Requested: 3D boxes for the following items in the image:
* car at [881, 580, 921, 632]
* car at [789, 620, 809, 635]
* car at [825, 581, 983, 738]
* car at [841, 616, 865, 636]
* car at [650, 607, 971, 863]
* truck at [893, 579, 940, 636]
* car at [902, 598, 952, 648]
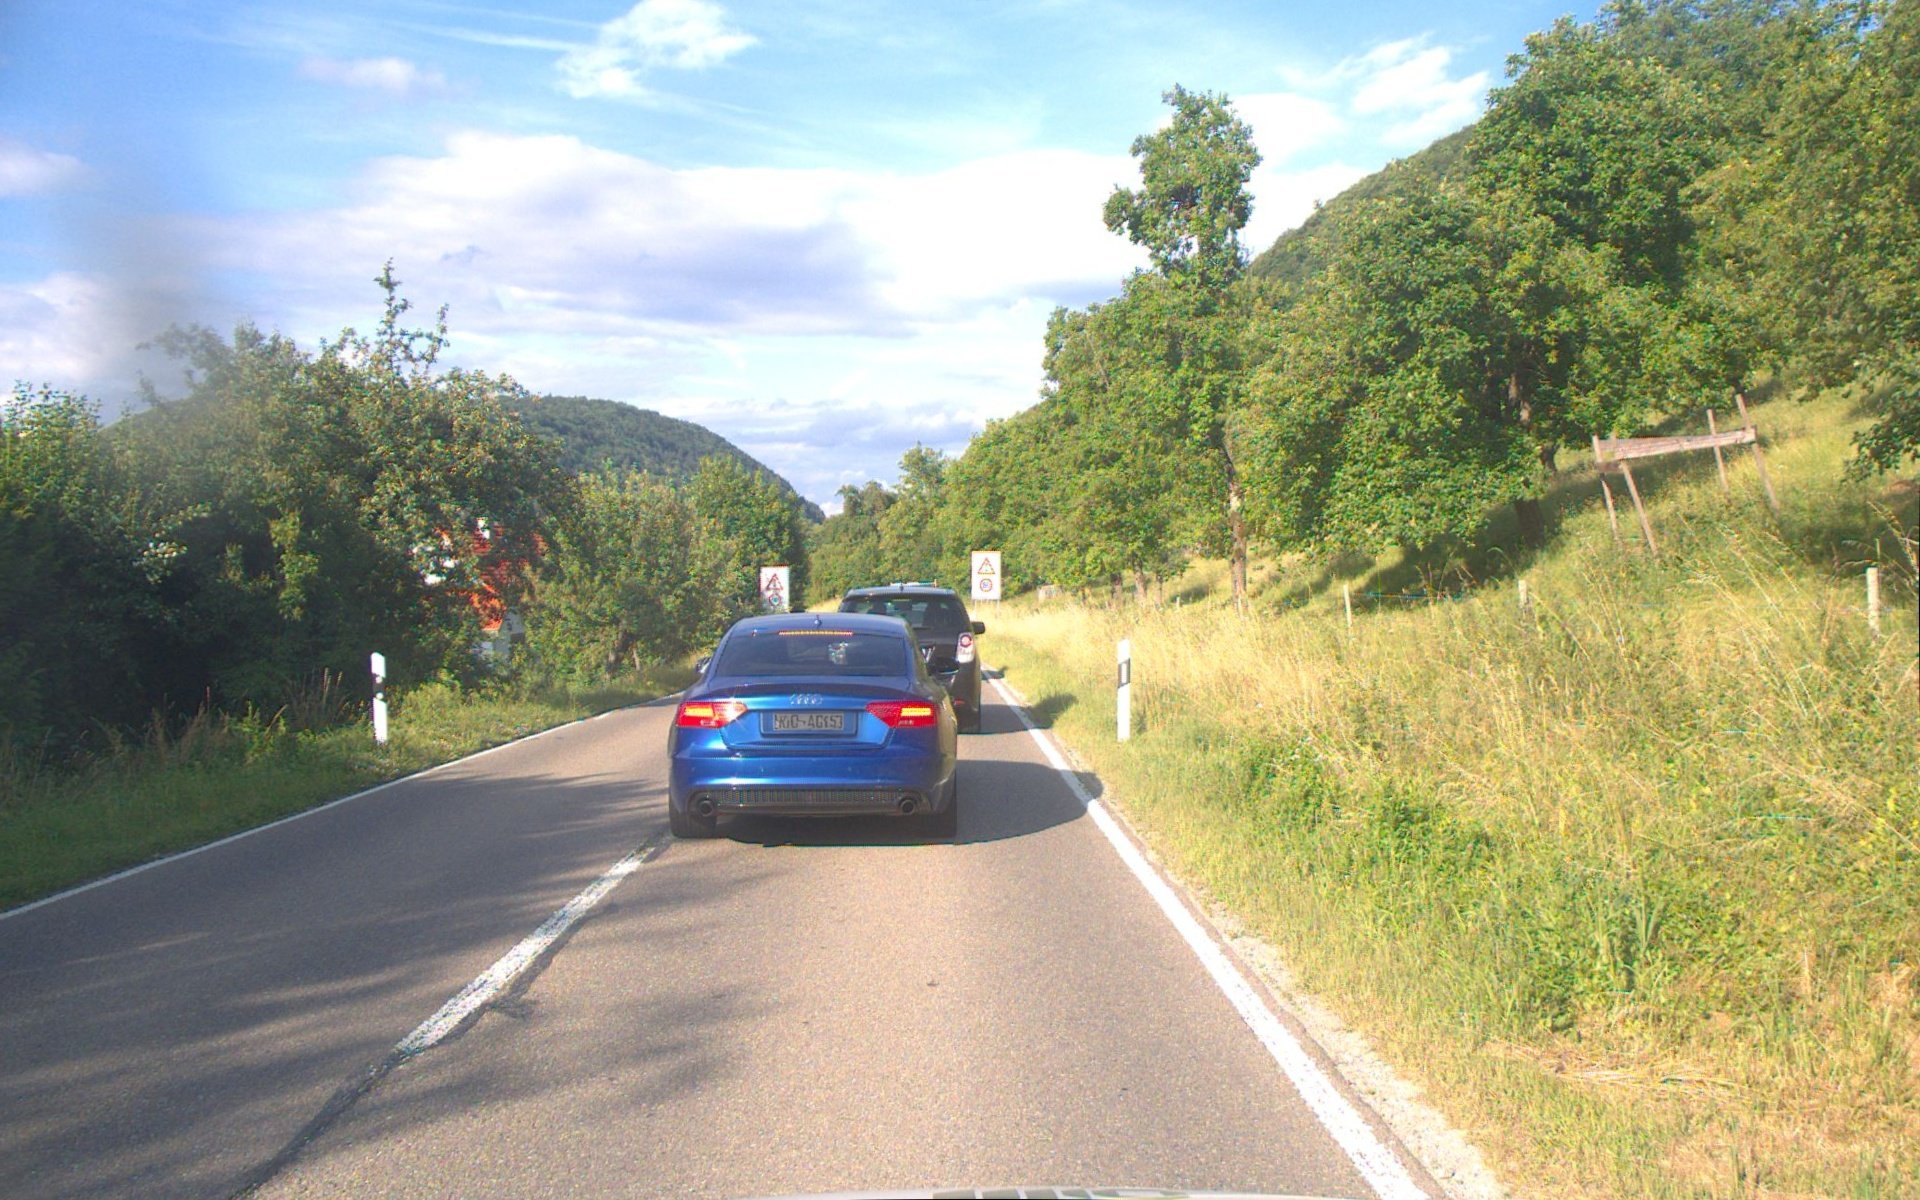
[{"bbox_3d":[-2.974,0.313,82.730,1.757,2.496,3.916,1,0,-4],"label":"car"},{"bbox_3d":[-16.829,2.841,172.361,1.532,1.522,3.765,1,0,-14],"label":"car"},{"bbox_3d":[-0.634,0.621,19.255,1.658,1.652,3.788,0,0,-2],"label":"car"},{"bbox_3d":[-8.816,2.156,136.427,1.530,1.522,3.769,1,0,-10],"label":"car"},{"bbox_3d":[-0.864,0.762,11.256,1.769,1.406,4.213,0,-1,-1],"label":"car"},{"bbox_3d":[-1.937,0.336,72.561,1.911,2.386,5.091,1,0,-2],"label":"truck"},{"bbox_3d":[-1.154,0.757,56.994,1.658,1.652,3.788,0,0,-2],"label":"car"}]
